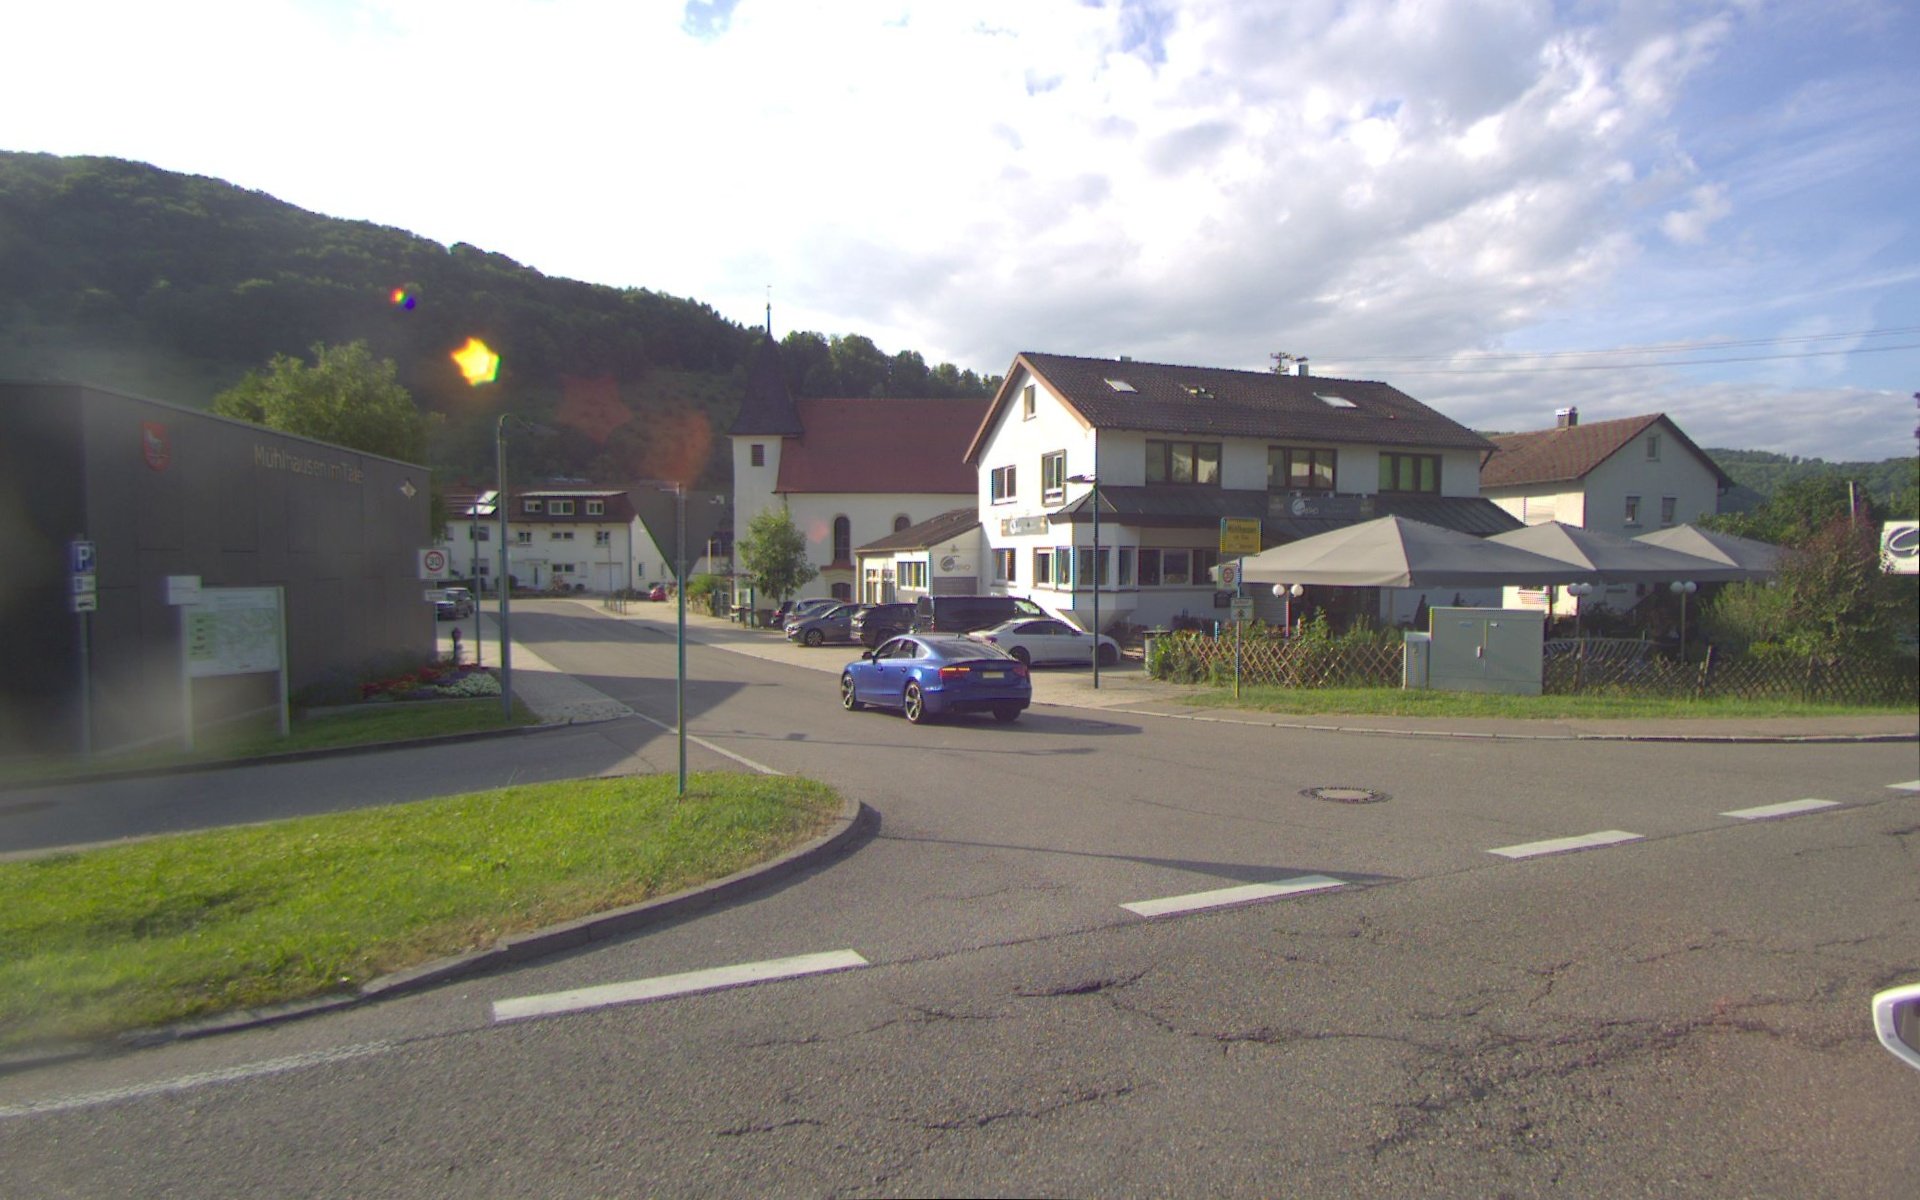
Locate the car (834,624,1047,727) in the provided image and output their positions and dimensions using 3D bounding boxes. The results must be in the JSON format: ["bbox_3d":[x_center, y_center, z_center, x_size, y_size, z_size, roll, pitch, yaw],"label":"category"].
[{"bbox_3d":[-0.469,1.135,16.597,1.813,1.428,4.195,1,-1,-28],"label":"car"}]

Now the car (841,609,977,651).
[{"bbox_3d":[-1.846,1.076,36.198,4.512,1.431,1.988,1,-1,-24],"label":"car"}]

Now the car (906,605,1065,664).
[{"bbox_3d":[0.785,1.043,30.986,4.512,1.707,1.988,1,-1,-24],"label":"car"}]

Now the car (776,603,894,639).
[{"bbox_3d":[-5.192,0.863,41.714,4.512,1.431,1.988,1,-1,-24],"label":"car"}]

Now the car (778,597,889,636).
[{"bbox_3d":[-5.587,0.746,44.340,4.512,1.665,1.988,1,-1,-24],"label":"car"}]

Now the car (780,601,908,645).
[{"bbox_3d":[-4.435,0.869,38.499,4.512,1.618,1.988,1,-1,-24],"label":"car"}]

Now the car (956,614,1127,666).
[{"bbox_3d":[2.345,1.118,28.763,4.512,1.408,1.988,1,-1,-24],"label":"car"}]

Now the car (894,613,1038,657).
[{"bbox_3d":[0.221,1.166,34.174,4.512,1.408,1.988,1,-1,-24],"label":"car"}]

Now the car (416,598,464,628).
[{"bbox_3d":[-28.331,0.666,54.696,1.979,1.534,3.963,0,0,-33],"label":"car"}]

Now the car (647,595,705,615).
[{"bbox_3d":[-21.999,0.356,77.848,3.951,1.528,1.985,0,0,-29],"label":"car"}]
